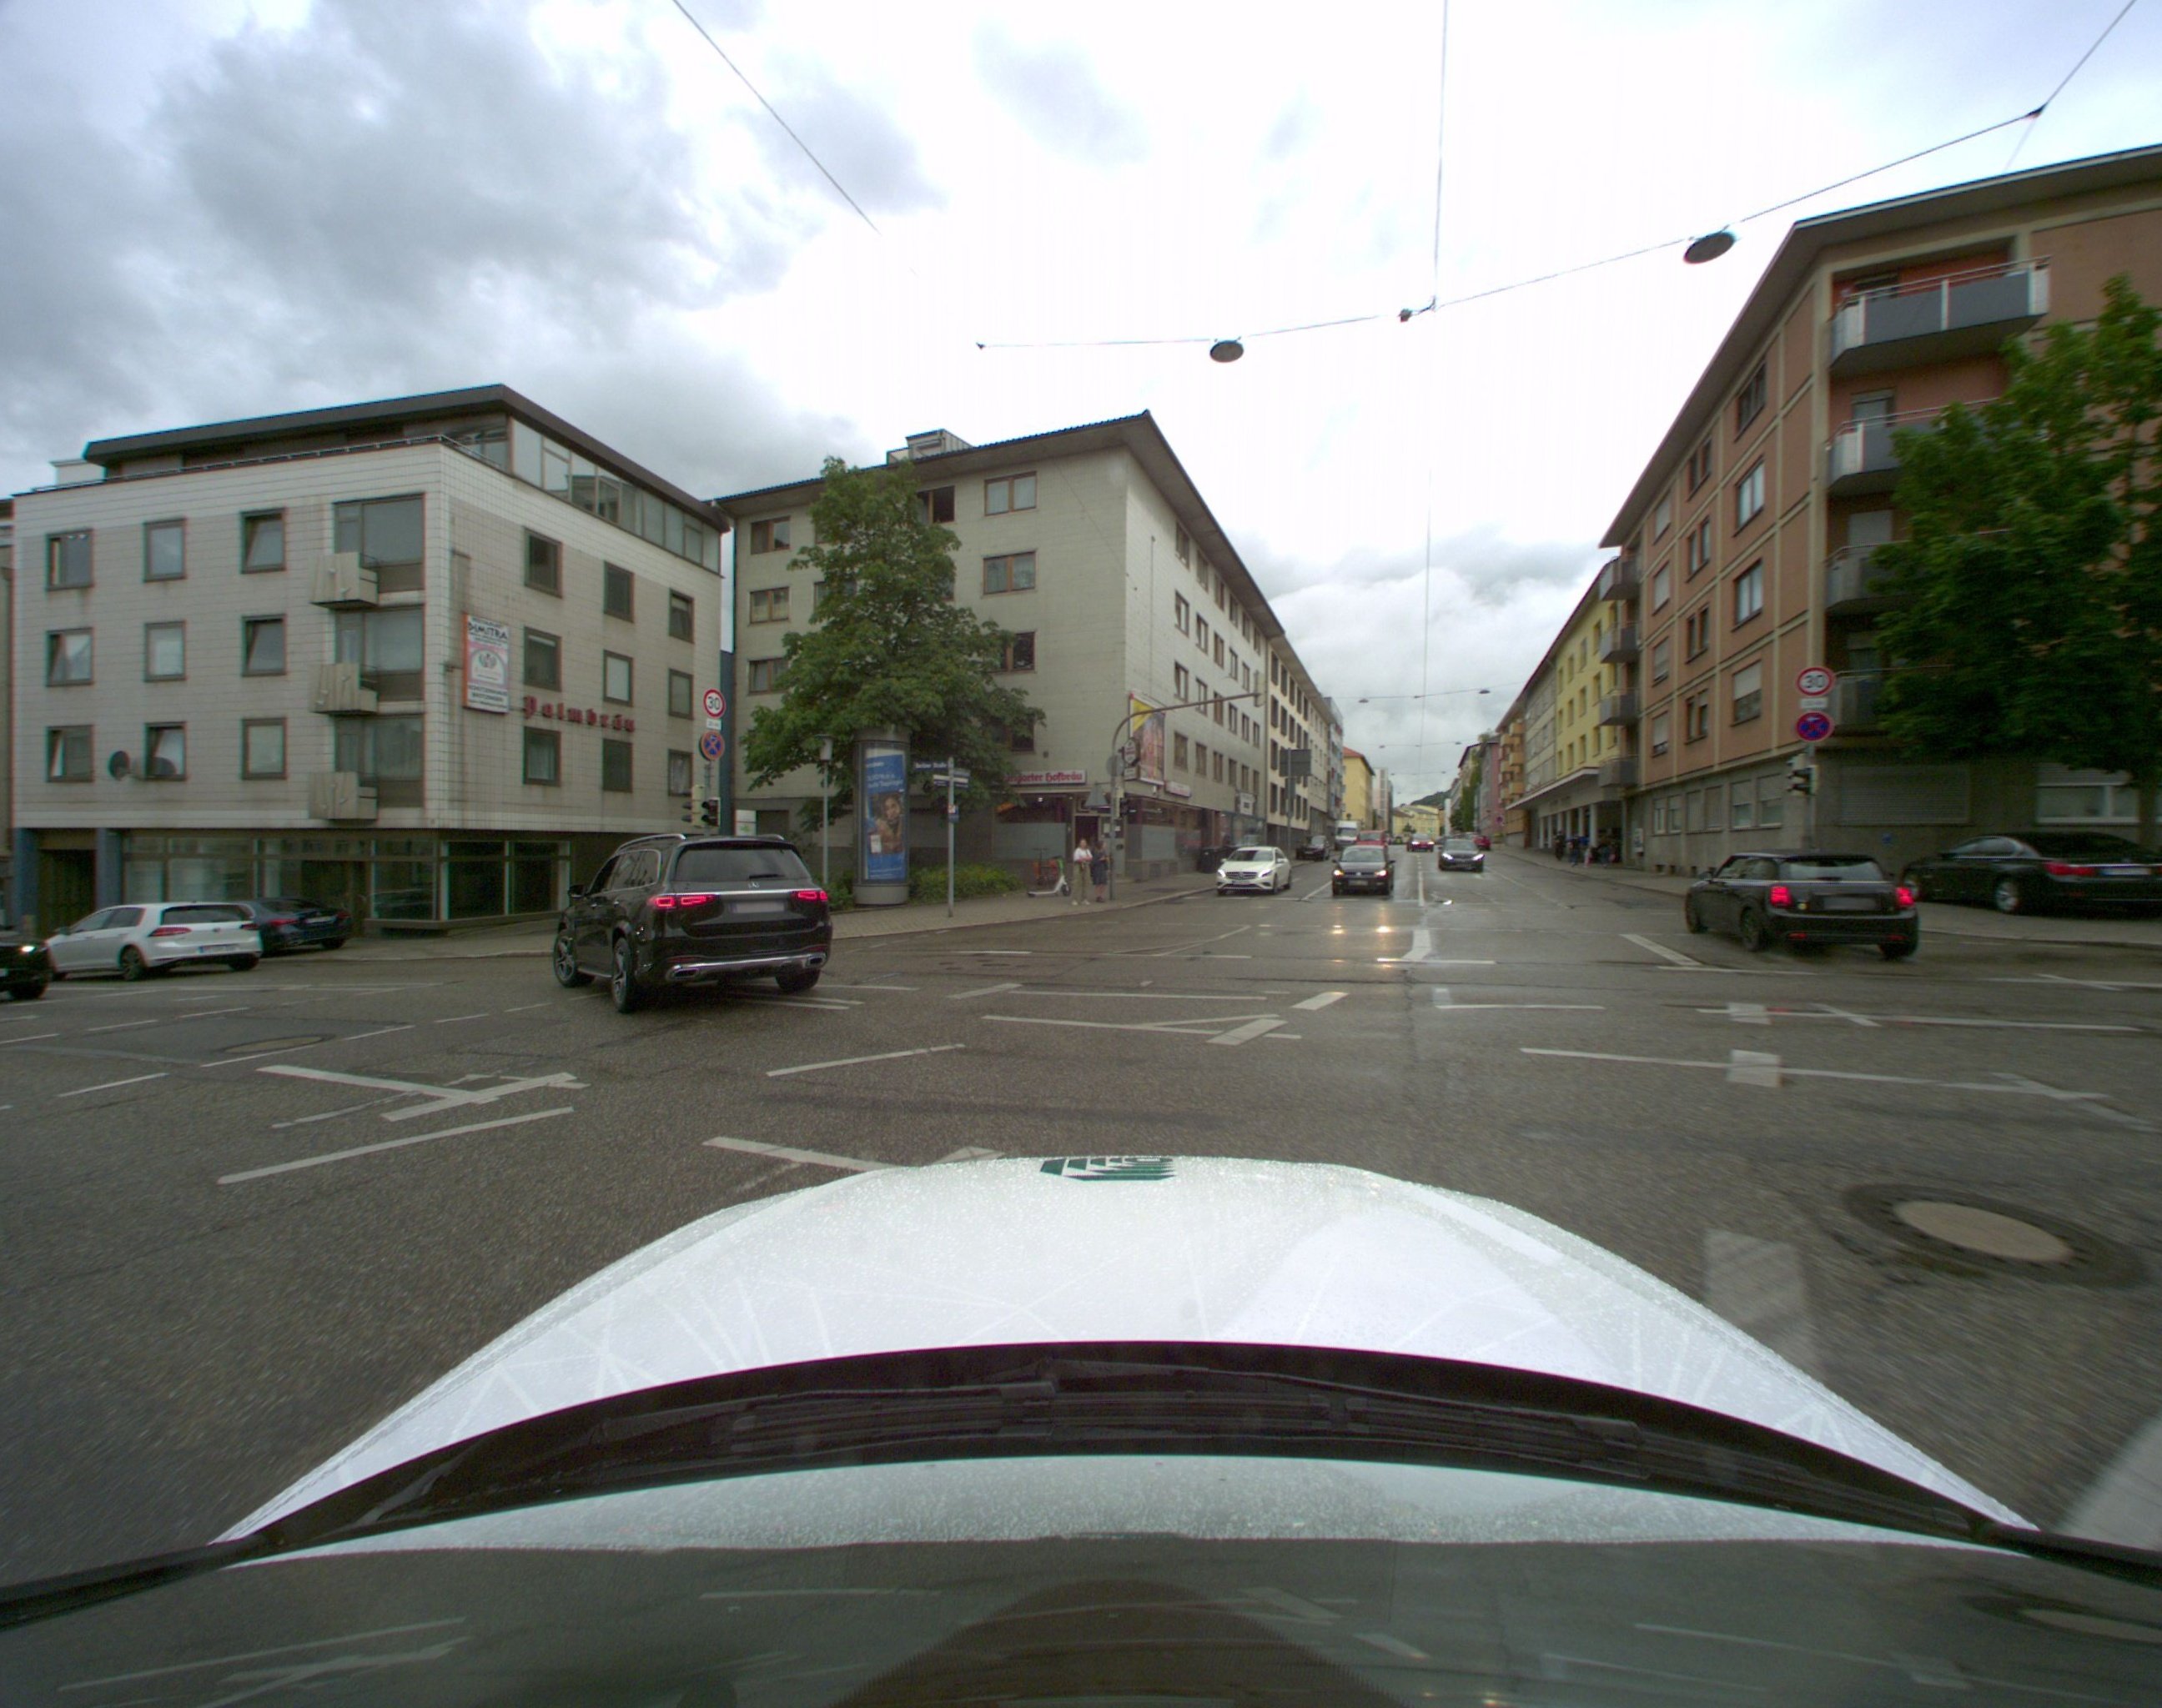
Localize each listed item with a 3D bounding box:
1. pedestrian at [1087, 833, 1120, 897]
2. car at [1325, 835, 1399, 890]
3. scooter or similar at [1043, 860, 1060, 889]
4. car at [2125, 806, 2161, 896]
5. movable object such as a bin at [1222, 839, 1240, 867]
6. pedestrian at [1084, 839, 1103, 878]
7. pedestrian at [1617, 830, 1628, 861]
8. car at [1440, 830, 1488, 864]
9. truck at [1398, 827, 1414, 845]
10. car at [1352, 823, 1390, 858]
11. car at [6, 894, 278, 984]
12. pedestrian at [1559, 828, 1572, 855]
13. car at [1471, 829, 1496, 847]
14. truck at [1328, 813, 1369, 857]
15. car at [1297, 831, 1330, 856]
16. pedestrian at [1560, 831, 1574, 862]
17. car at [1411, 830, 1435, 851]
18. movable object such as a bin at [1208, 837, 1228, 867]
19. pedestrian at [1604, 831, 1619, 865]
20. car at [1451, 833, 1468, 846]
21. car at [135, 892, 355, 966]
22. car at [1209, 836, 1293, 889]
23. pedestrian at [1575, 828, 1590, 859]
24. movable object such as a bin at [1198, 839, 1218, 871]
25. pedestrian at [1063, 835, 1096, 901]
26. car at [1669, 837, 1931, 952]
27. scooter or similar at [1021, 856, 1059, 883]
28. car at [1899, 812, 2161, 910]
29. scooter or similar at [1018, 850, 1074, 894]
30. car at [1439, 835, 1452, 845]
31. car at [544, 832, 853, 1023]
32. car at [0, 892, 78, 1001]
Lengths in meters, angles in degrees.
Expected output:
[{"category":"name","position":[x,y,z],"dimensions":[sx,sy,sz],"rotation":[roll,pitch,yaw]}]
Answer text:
[{"category":"pedestrian","position":[0.589,0.280,21.817],"dimensions":[0.708,1.646,0.755],"rotation":[0,3,-14]},{"category":"car","position":[8.709,0.244,25.062],"dimensions":[1.827,1.489,4.022],"rotation":[-2,-1,23]},{"category":"scooter or similar","position":[-0.890,0.624,25.106],"dimensions":[0.457,0.843,1.322],"rotation":[1,-1,0]},{"category":"car","position":[20.280,-0.069,13.548],"dimensions":[1.968,1.660,4.023],"rotation":[-1,0,26]},{"category":"movable object such as a bin","position":[7.246,-0.058,39.289],"dimensions":[0.691,1.315,0.786],"rotation":[1,-1,21]},{"category":"pedestrian","position":[0.456,0.159,29.390],"dimensions":[0.514,1.400,0.581],"rotation":[1,-1,19]},{"category":"pedestrian","position":[25.188,-0.403,37.878],"dimensions":[0.360,1.398,0.372],"rotation":[1,3,23]},{"category":"car","position":[17.870,-0.290,38.111],"dimensions":[1.827,1.489,4.022],"rotation":[-1,-1,23]},{"category":"truck","position":[72.937,-3.993,182.644],"dimensions":[2.782,3.832,8.190],"rotation":[1,-1,24]},{"category":"car","position":[19.753,-0.861,55.408],"dimensions":[2.046,2.241,4.645],"rotation":[-2,-1,24]},{"category":"car","position":[-18.948,1.694,16.482],"dimensions":[4.332,1.462,1.843],"rotation":[-4,-2,15]},{"category":"pedestrian","position":[28.358,-0.741,47.665],"dimensions":[0.515,1.556,0.572],"rotation":[1,3,23]},{"category":"car","position":[38.276,-1.515,77.513],"dimensions":[1.997,1.562,5.184],"rotation":[1,-1,25]},{"category":"truck","position":[25.646,-1.699,77.878],"dimensions":[2.782,3.832,8.190],"rotation":[1,-1,24]},{"category":"car","position":[15.788,-0.682,55.227],"dimensions":[1.709,1.603,4.021],"rotation":[-1,-1,22]},{"category":"pedestrian","position":[24.484,-0.372,41.026],"dimensions":[0.515,1.538,0.572],"rotation":[1,3,23]},{"category":"car","position":[29.699,-1.160,70.638],"dimensions":[1.827,1.674,4.022],"rotation":[-1,-1,23]},{"category":"movable object such as a bin","position":[6.192,-0.100,36.772],"dimensions":[0.691,1.315,0.786],"rotation":[1,-1,21]},{"category":"pedestrian","position":[24.783,-0.305,38.043],"dimensions":[0.475,1.566,0.561],"rotation":[1,3,23]},{"category":"car","position":[49.971,-1.926,107.439],"dimensions":[1.997,1.562,4.023],"rotation":[1,-1,25]},{"category":"car","position":[-20.554,1.835,20.062],"dimensions":[4.332,1.391,1.777],"rotation":[-4,1,15]},{"category":"car","position":[5.483,0.246,25.887],"dimensions":[1.827,1.513,4.022],"rotation":[-2,-1,23]},{"category":"pedestrian","position":[25.044,-0.521,40.698],"dimensions":[0.515,1.518,0.572],"rotation":[1,3,23]},{"category":"movable object such as a bin","position":[5.475,0.046,35.048],"dimensions":[0.691,1.315,0.786],"rotation":[1,-1,21]},{"category":"pedestrian","position":[-0.044,0.347,21.212],"dimensions":[0.708,1.646,0.755],"rotation":[0,3,-14]},{"category":"car","position":[10.498,0.492,12.288],"dimensions":[1.646,1.420,4.094],"rotation":[-2,0,22]},{"category":"scooter or similar","position":[-1.291,0.479,25.493],"dimensions":[0.552,0.843,1.451],"rotation":[2,-1,-30]},{"category":"car","position":[17.777,0.118,15.247],"dimensions":[1.827,1.554,4.823],"rotation":[-1,-1,24]},{"category":"scooter or similar","position":[-1.004,0.511,23.142],"dimensions":[1.555,1.190,0.500],"rotation":[1,-1,-7]},{"category":"car","position":[62.469,-2.357,139.634],"dimensions":[1.997,1.562,4.023],"rotation":[1,-1,25]},{"category":"car","position":[-4.827,0.716,9.847],"dimensions":[2.039,1.739,4.689],"rotation":[-2,-1,-43]},{"category":"car","position":[-17.814,1.533,12.348],"dimensions":[4.329,1.537,1.834],"rotation":[-5,-1,19]}]
